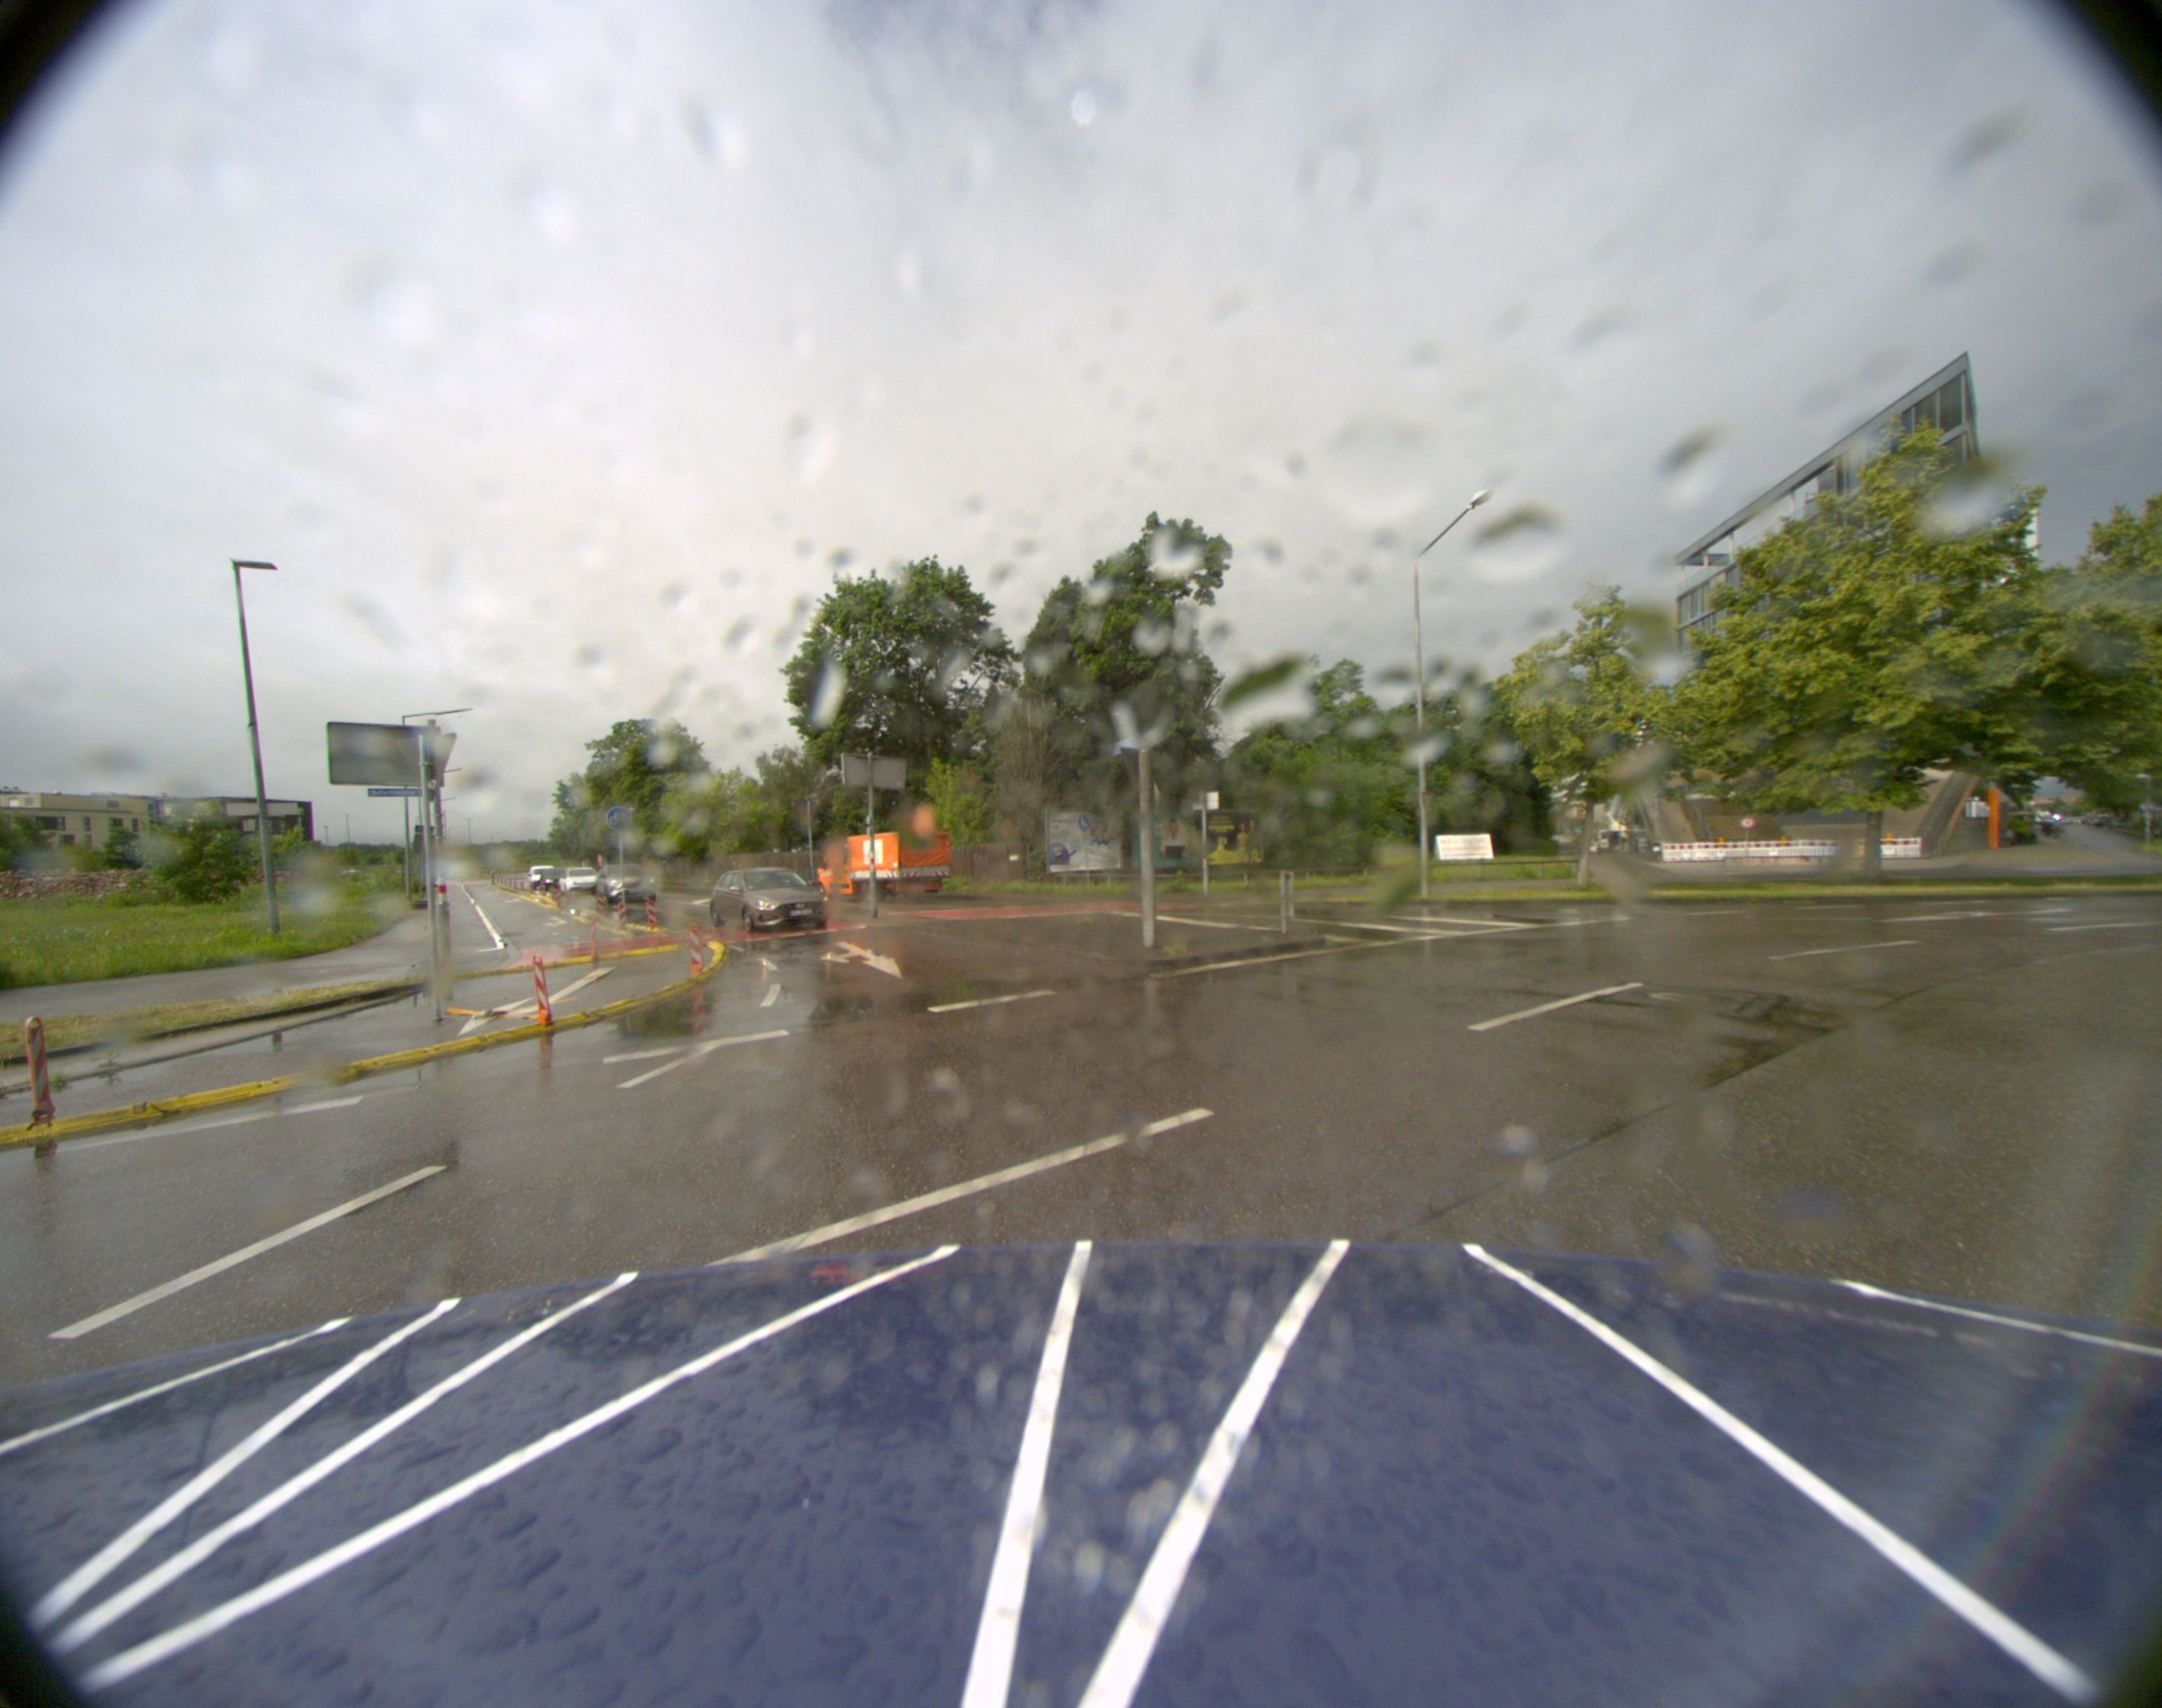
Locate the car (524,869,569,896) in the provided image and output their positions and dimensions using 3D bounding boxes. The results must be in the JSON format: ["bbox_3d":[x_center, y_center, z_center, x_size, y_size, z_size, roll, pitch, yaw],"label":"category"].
[{"bbox_3d":[-37.918,1.976,53.861,1.879,1.654,4.471,-6,3,-42],"label":"car"}]

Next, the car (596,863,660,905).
[{"bbox_3d":[-20.265,1.294,33.890,1.879,1.654,4.471,-4,1,-37],"label":"car"}]

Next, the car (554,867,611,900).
[{"bbox_3d":[-28.516,1.672,43.403,1.879,1.654,4.471,-5,2,-42],"label":"car"}]

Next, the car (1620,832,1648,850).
[{"bbox_3d":[53.992,-1.212,74.147,1.861,1.662,4.480,-1,-1,40],"label":"car"}]

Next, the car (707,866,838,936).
[{"bbox_3d":[-7.547,1.069,18.365,1.738,1.405,4.117,-4,1,-39],"label":"car"}]

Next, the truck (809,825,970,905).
[{"bbox_3d":[-7.407,0.406,28.751,6.926,2.710,2.467,-2,1,43],"label":"truck"}]

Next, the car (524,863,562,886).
[{"bbox_3d":[-43.540,1.642,61.439,1.879,1.654,4.471,-6,3,-42],"label":"car"}]
